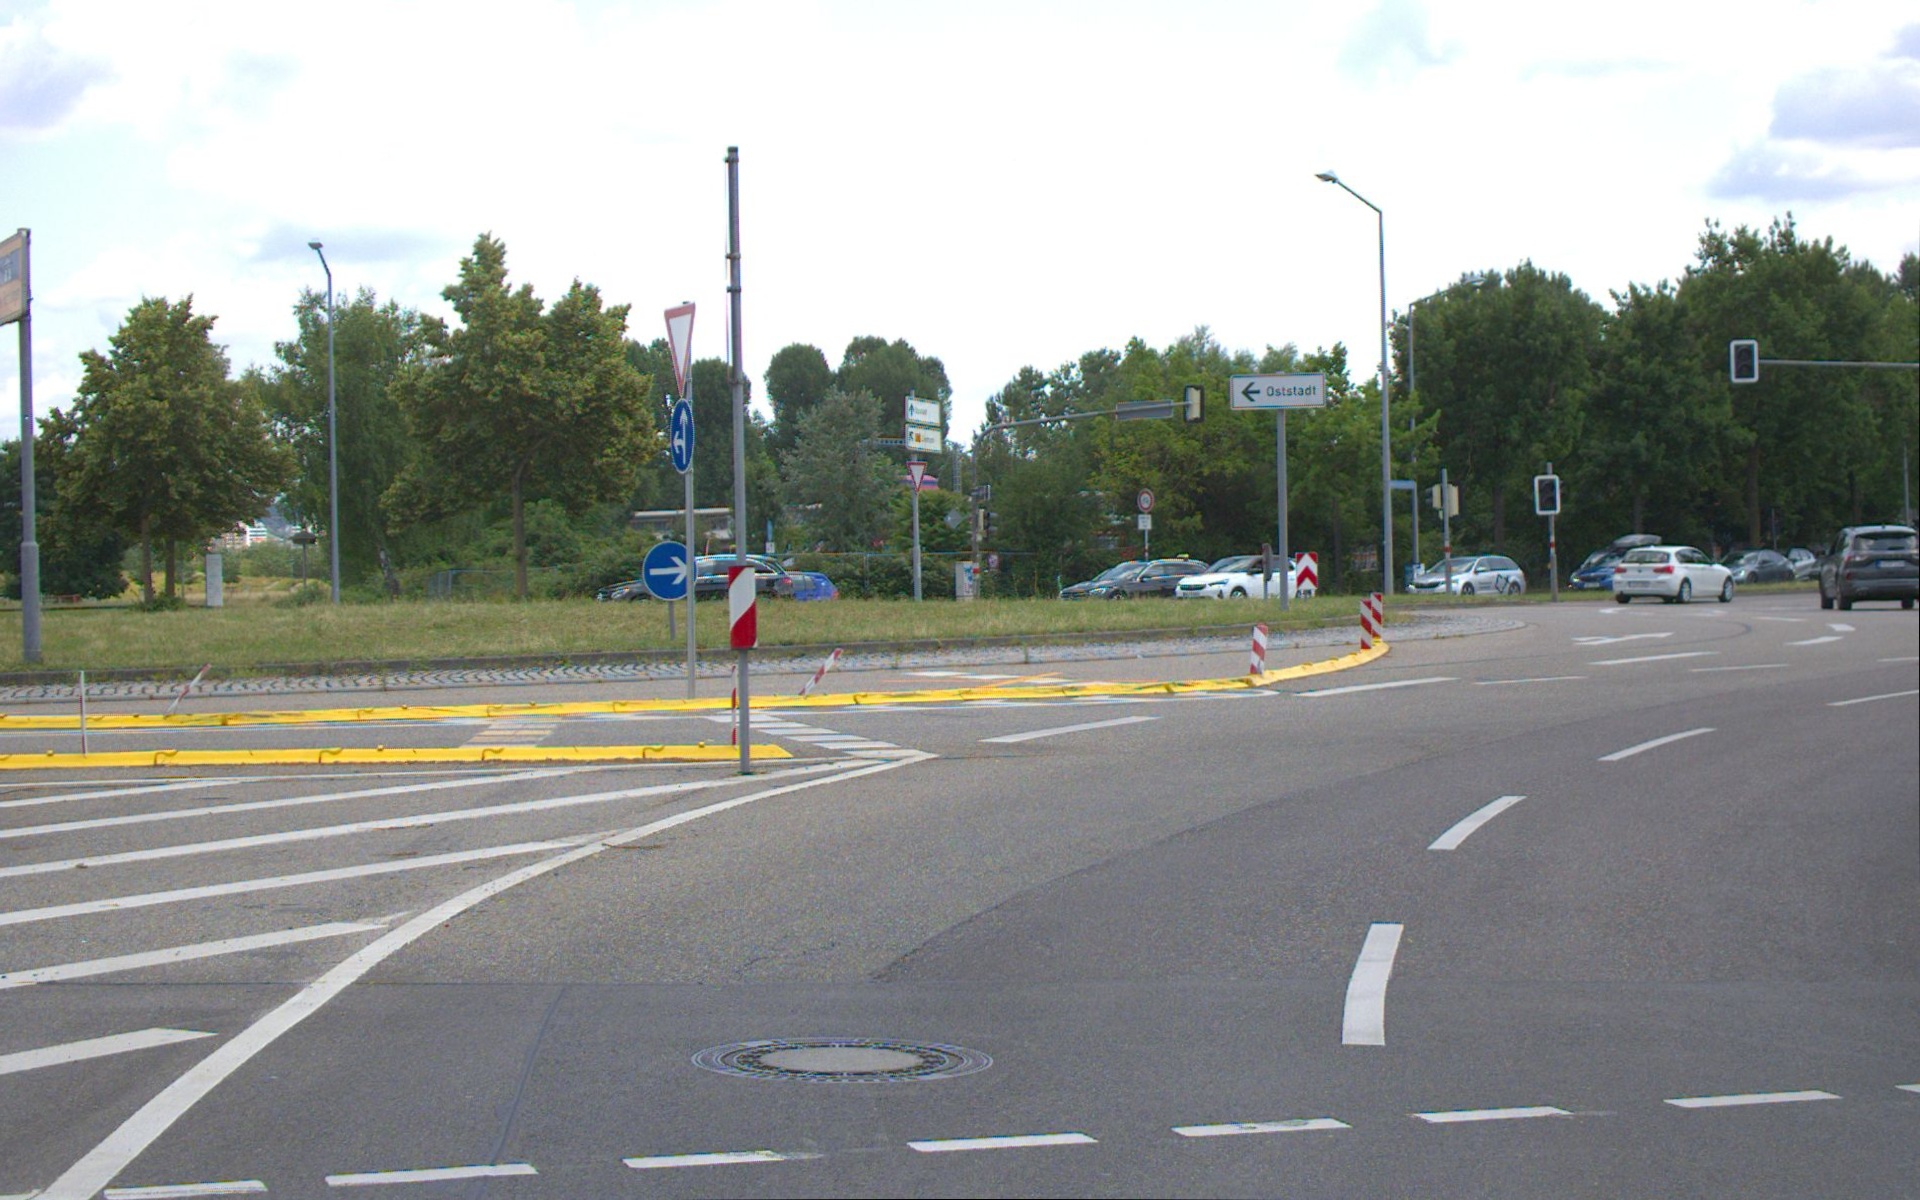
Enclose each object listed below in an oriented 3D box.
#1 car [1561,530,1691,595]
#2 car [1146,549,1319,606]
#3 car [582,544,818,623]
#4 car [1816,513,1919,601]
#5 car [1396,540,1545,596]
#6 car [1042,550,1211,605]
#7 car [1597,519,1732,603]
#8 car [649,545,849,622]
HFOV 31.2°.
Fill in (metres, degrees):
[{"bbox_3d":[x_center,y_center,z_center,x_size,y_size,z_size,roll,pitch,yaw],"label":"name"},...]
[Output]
[{"bbox_3d":[19.527,-1.112,100.723,1.754,1.792,4.398,0,2,41],"label":"car"},{"bbox_3d":[6.887,-0.578,86.549,4.300,1.325,1.999,-2,1,-44],"label":"car"},{"bbox_3d":[-5.979,-0.398,79.282,5.054,1.669,2.000,-2,1,-33],"label":"car"},{"bbox_3d":[18.102,-0.851,67.724,1.994,1.620,4.308,-2,0,9],"label":"car"},{"bbox_3d":[14.812,-0.930,99.589,2.122,1.516,4.496,0,2,42],"label":"car"},{"bbox_3d":[4.374,-0.596,89.828,1.953,1.318,4.480,0,2,43],"label":"car"},{"bbox_3d":[17.536,-0.986,85.476,1.997,2.007,3.993,0,1,32],"label":"car"},{"bbox_3d":[-5.364,-0.408,87.358,4.709,1.785,1.849,-1,-2,-19],"label":"car"}]
